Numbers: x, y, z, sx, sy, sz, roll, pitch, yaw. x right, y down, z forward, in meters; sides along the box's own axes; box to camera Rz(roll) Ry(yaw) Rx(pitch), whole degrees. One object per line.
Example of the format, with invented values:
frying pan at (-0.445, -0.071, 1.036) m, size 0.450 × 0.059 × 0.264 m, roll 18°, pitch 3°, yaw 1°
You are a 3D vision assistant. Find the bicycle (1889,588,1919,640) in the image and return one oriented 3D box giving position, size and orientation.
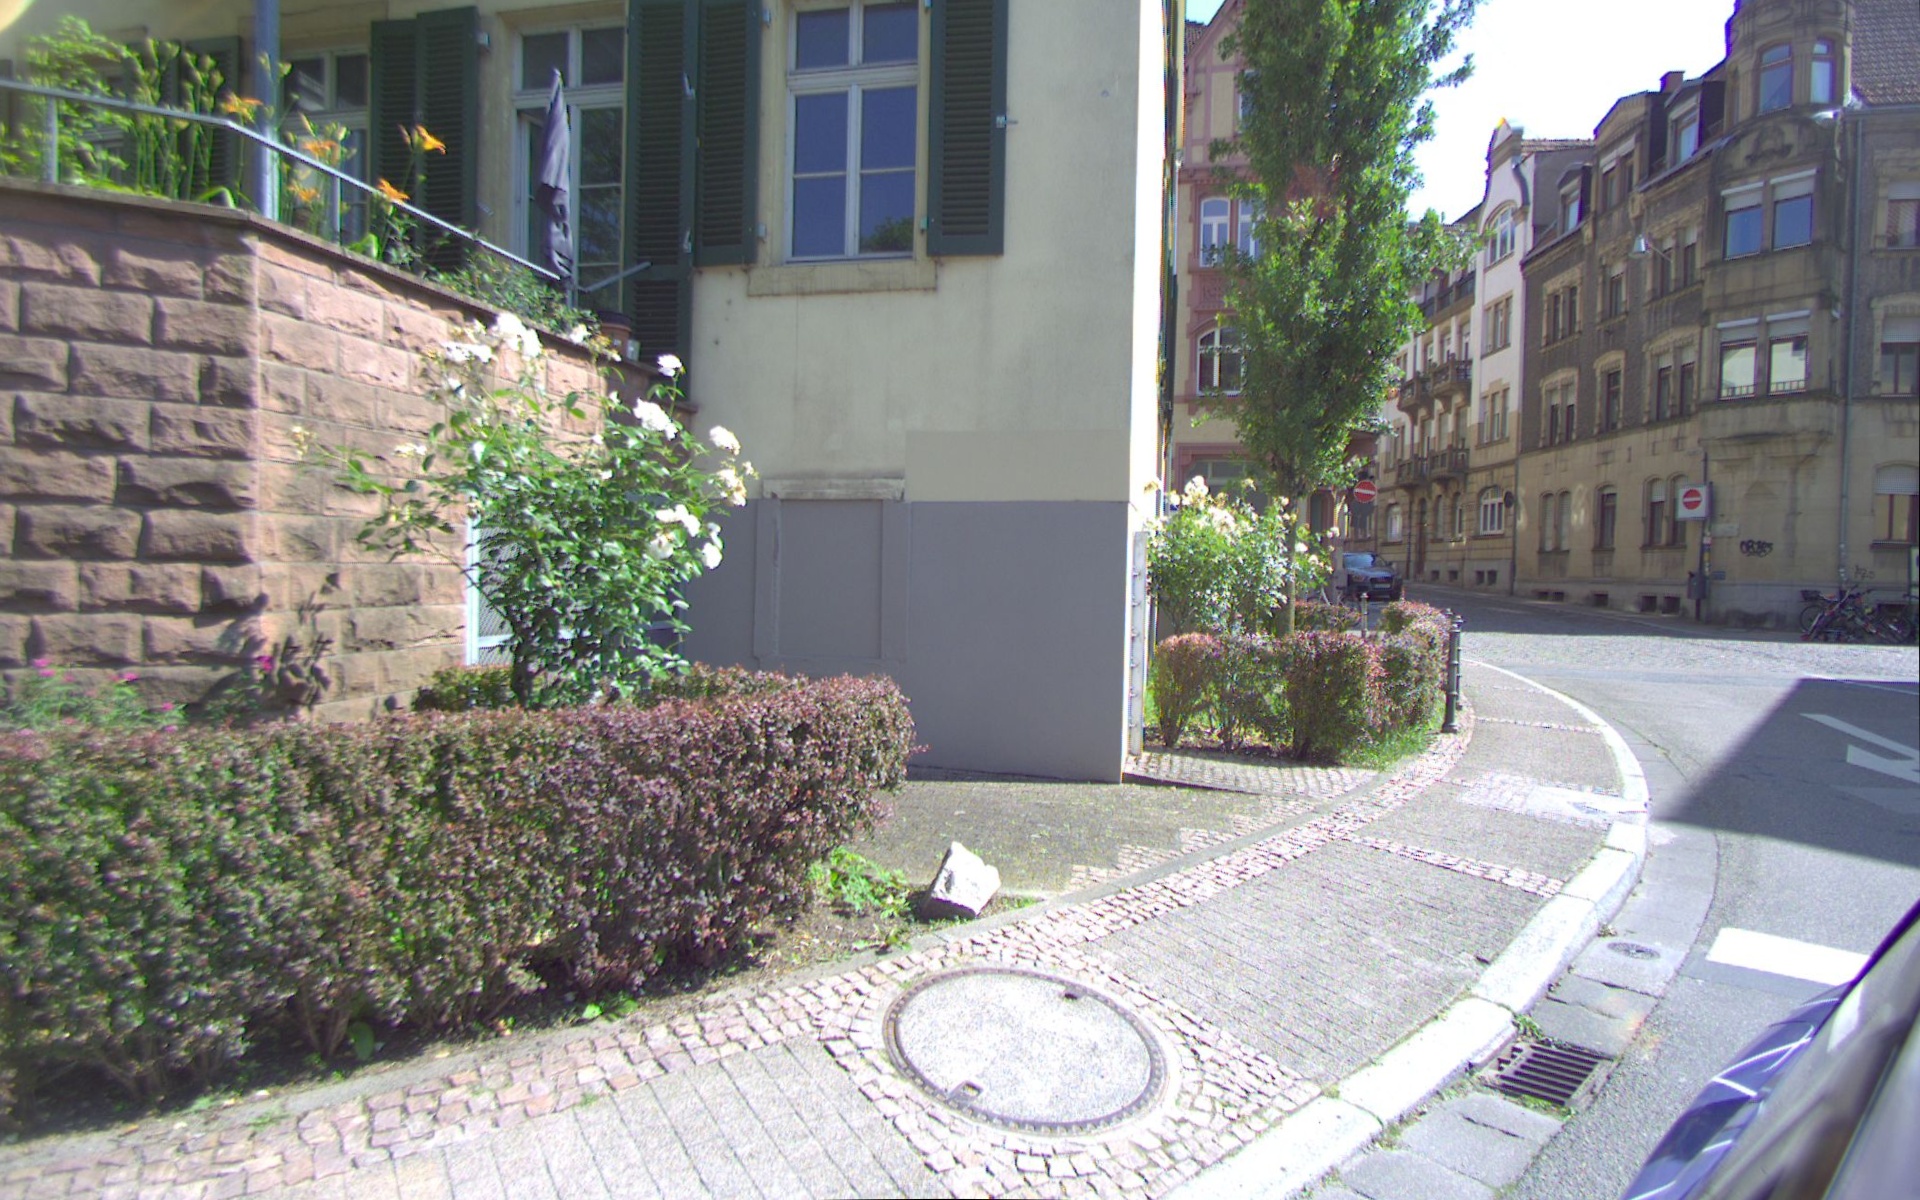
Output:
bicycle at (20.398, 0.297, 21.079) m, size 0.280 × 1.099 × 1.645 m, roll 3°, pitch -1°, yaw -15°

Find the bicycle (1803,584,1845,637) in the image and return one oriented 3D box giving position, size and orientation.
bicycle at (18.850, 0.213, 22.094) m, size 0.283 × 1.099 × 1.628 m, roll -2°, pitch 1°, yaw 26°

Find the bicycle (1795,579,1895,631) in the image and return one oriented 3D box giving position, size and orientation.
bicycle at (20.636, 0.100, 23.619) m, size 1.617 × 1.098 × 0.495 m, roll 2°, pitch 6°, yaw 13°

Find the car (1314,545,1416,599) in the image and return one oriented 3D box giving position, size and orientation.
car at (13.599, -1.003, 34.239) m, size 1.828 × 1.601 × 4.261 m, roll -1°, pitch 4°, yaw 2°

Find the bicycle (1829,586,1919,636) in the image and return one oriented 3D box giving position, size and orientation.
bicycle at (19.952, 0.222, 21.895) m, size 0.285 × 1.080 × 1.642 m, roll -42°, pitch 1°, yaw 3°

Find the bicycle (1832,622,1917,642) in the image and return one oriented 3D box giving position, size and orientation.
bicycle at (19.435, 0.672, 21.546) m, size 1.068 × 0.291 × 1.114 m, roll 2°, pitch 3°, yaw 27°

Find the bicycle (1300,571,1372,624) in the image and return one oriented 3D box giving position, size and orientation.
bicycle at (8.979, -0.080, 24.241) m, size 0.495 × 1.160 × 1.798 m, roll 1°, pitch 3°, yaw -23°

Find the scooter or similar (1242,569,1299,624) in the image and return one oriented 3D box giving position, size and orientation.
scooter or similar at (7.304, -0.083, 23.812) m, size 1.168 × 1.250 × 0.442 m, roll 1°, pitch 2°, yaw 0°

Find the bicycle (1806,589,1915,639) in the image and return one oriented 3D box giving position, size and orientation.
bicycle at (19.464, 0.282, 21.933) m, size 0.285 × 1.080 × 1.642 m, roll -42°, pitch 1°, yaw 3°
